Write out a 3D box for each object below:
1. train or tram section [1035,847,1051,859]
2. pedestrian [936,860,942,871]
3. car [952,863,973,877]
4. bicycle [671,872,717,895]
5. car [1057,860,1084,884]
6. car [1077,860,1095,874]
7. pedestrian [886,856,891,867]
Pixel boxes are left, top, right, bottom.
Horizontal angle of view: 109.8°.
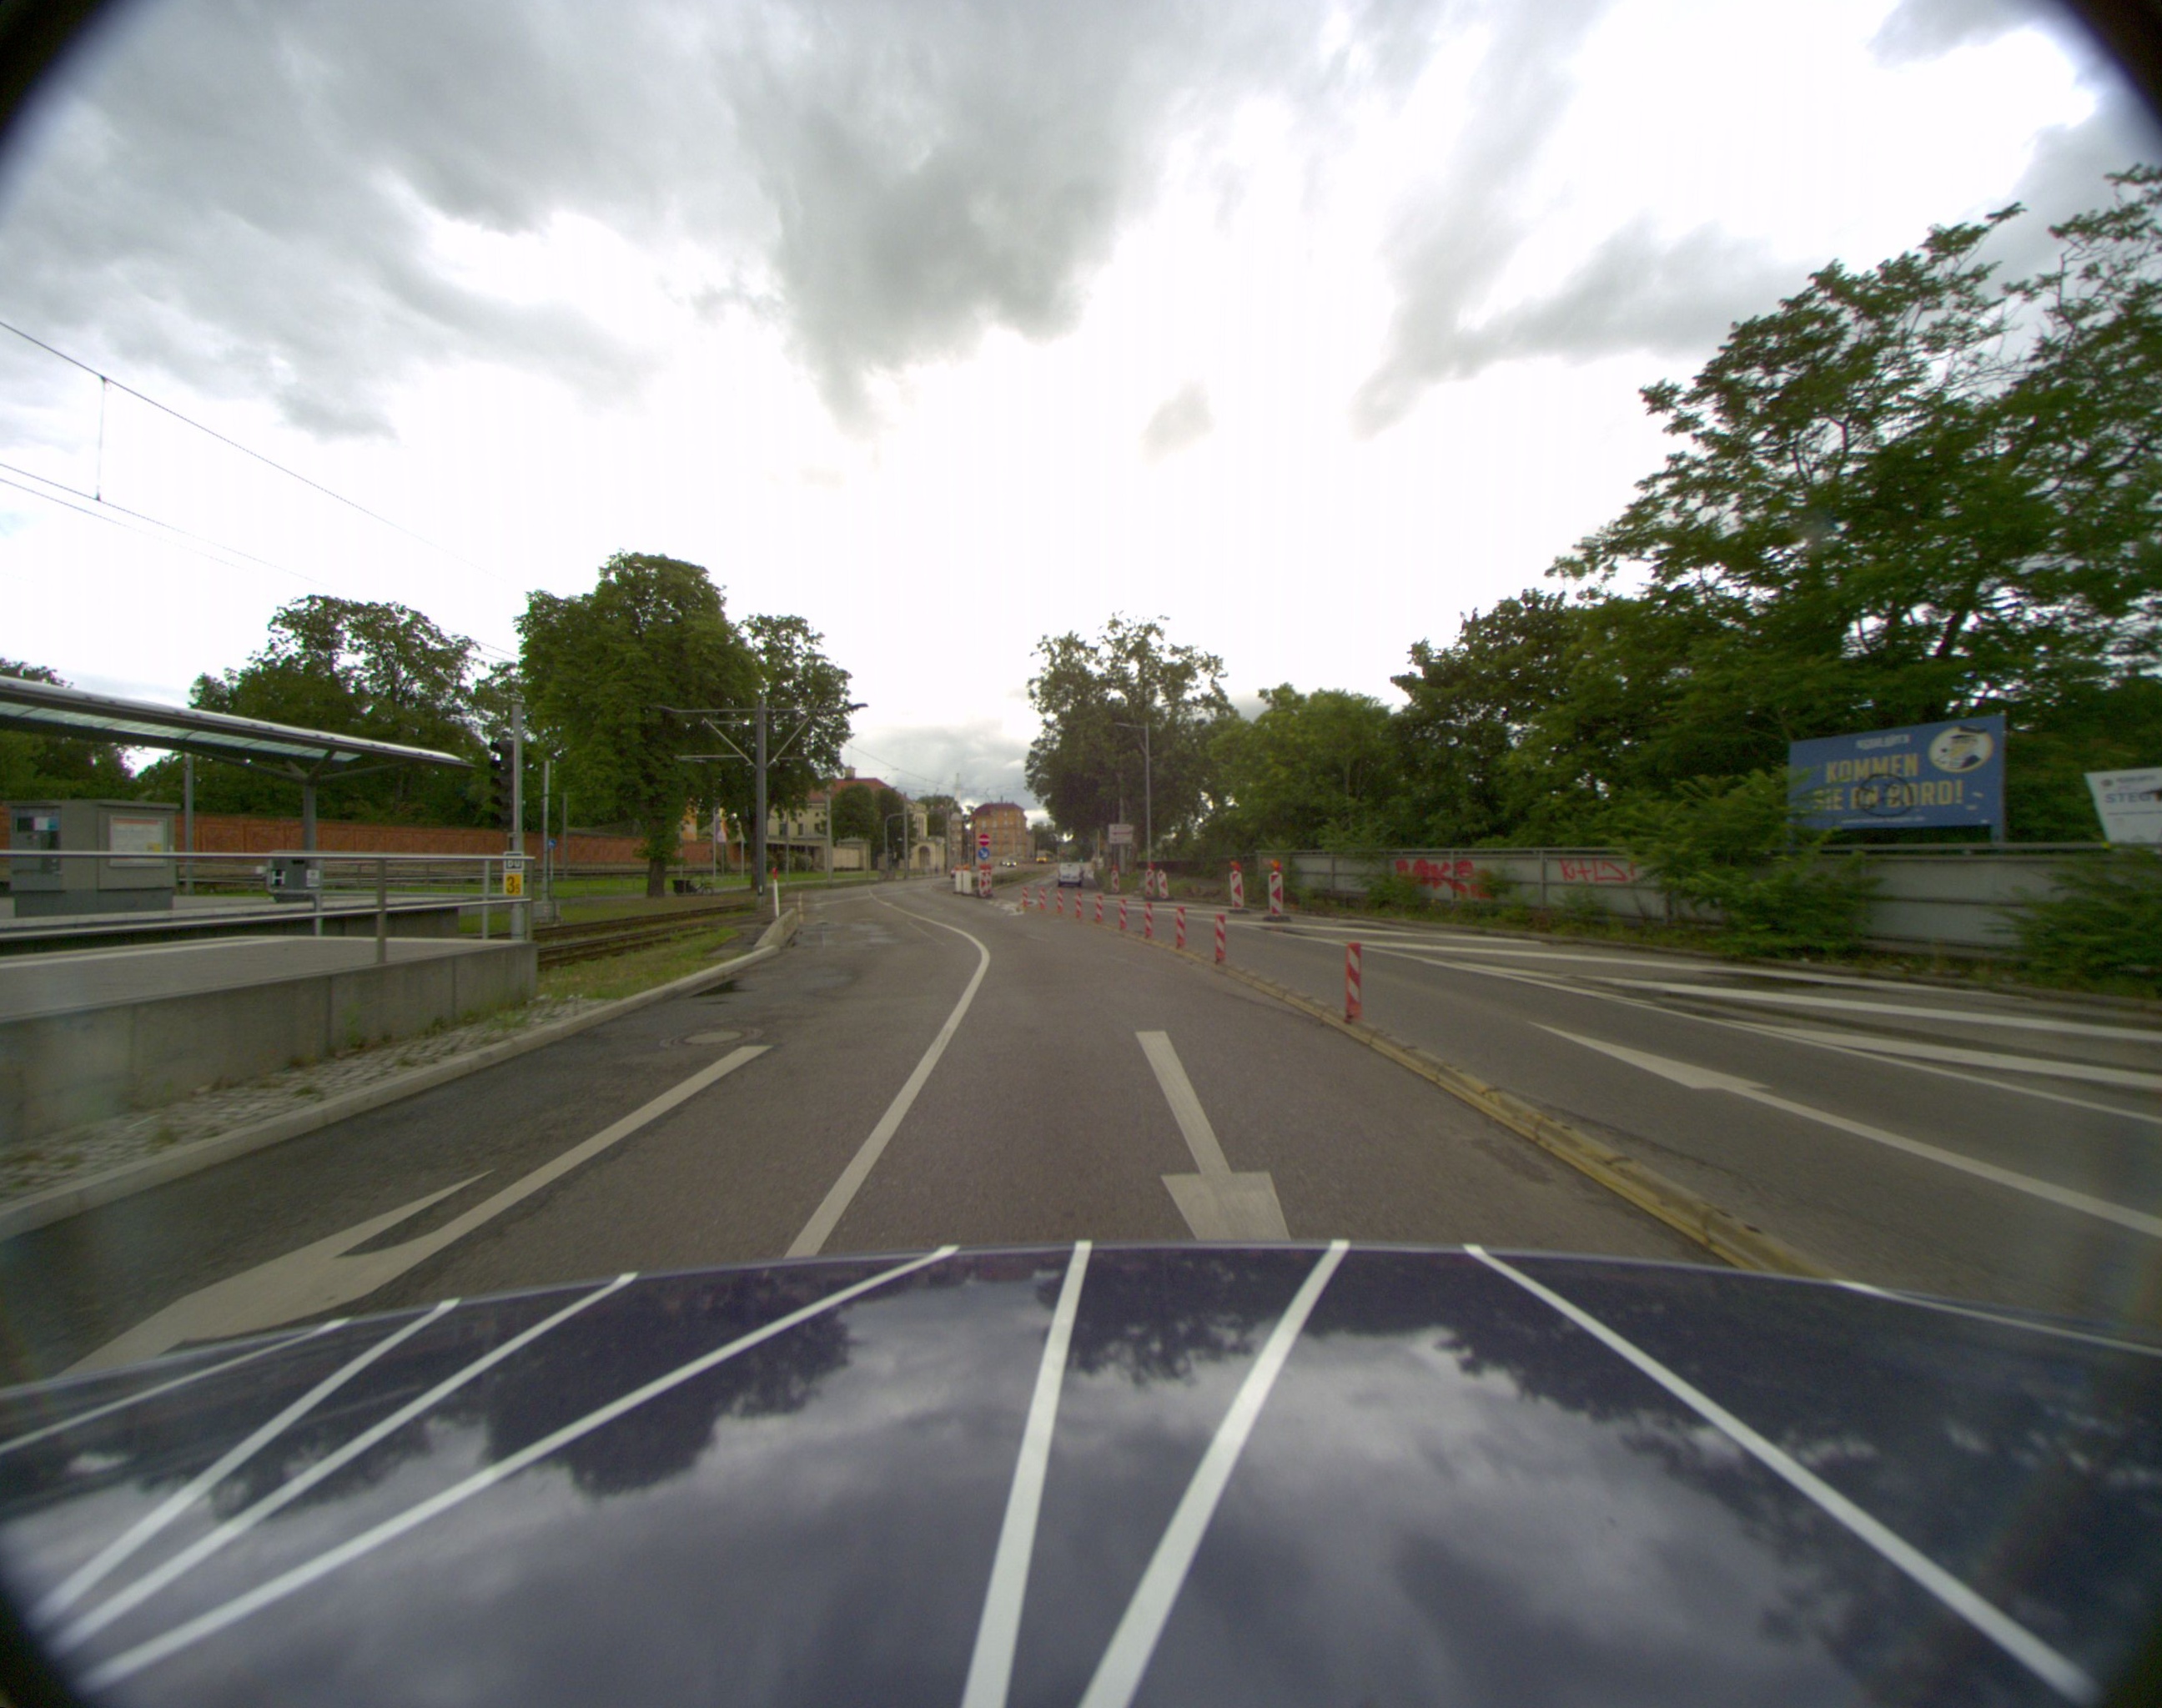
[{"bbox_3d":[-10.391,-0.316,208.627,3.739,3.346,17.553,0,0,-1],"label":"train or tram section"},{"bbox_3d":[-22.708,1.798,121.617,0.672,1.757,0.937,0,0,0],"label":"pedestrian"},{"bbox_3d":[-13.412,1.751,85.828,1.681,1.433,4.119,-3,0,0],"label":"car"},{"bbox_3d":[-19.723,1.508,38.783,1.995,1.151,0.741,0,0,5],"label":"bicycle"},{"bbox_3d":[-0.856,1.349,59.100,1.869,1.772,4.747,-1,0,-4],"label":"car"},{"bbox_3d":[0.548,1.452,83.779,1.699,1.452,3.913,0,-2,-3],"label":"car"},{"bbox_3d":[-31.551,1.192,124.815,0.596,1.782,0.808,0,0,0],"label":"pedestrian"}]
